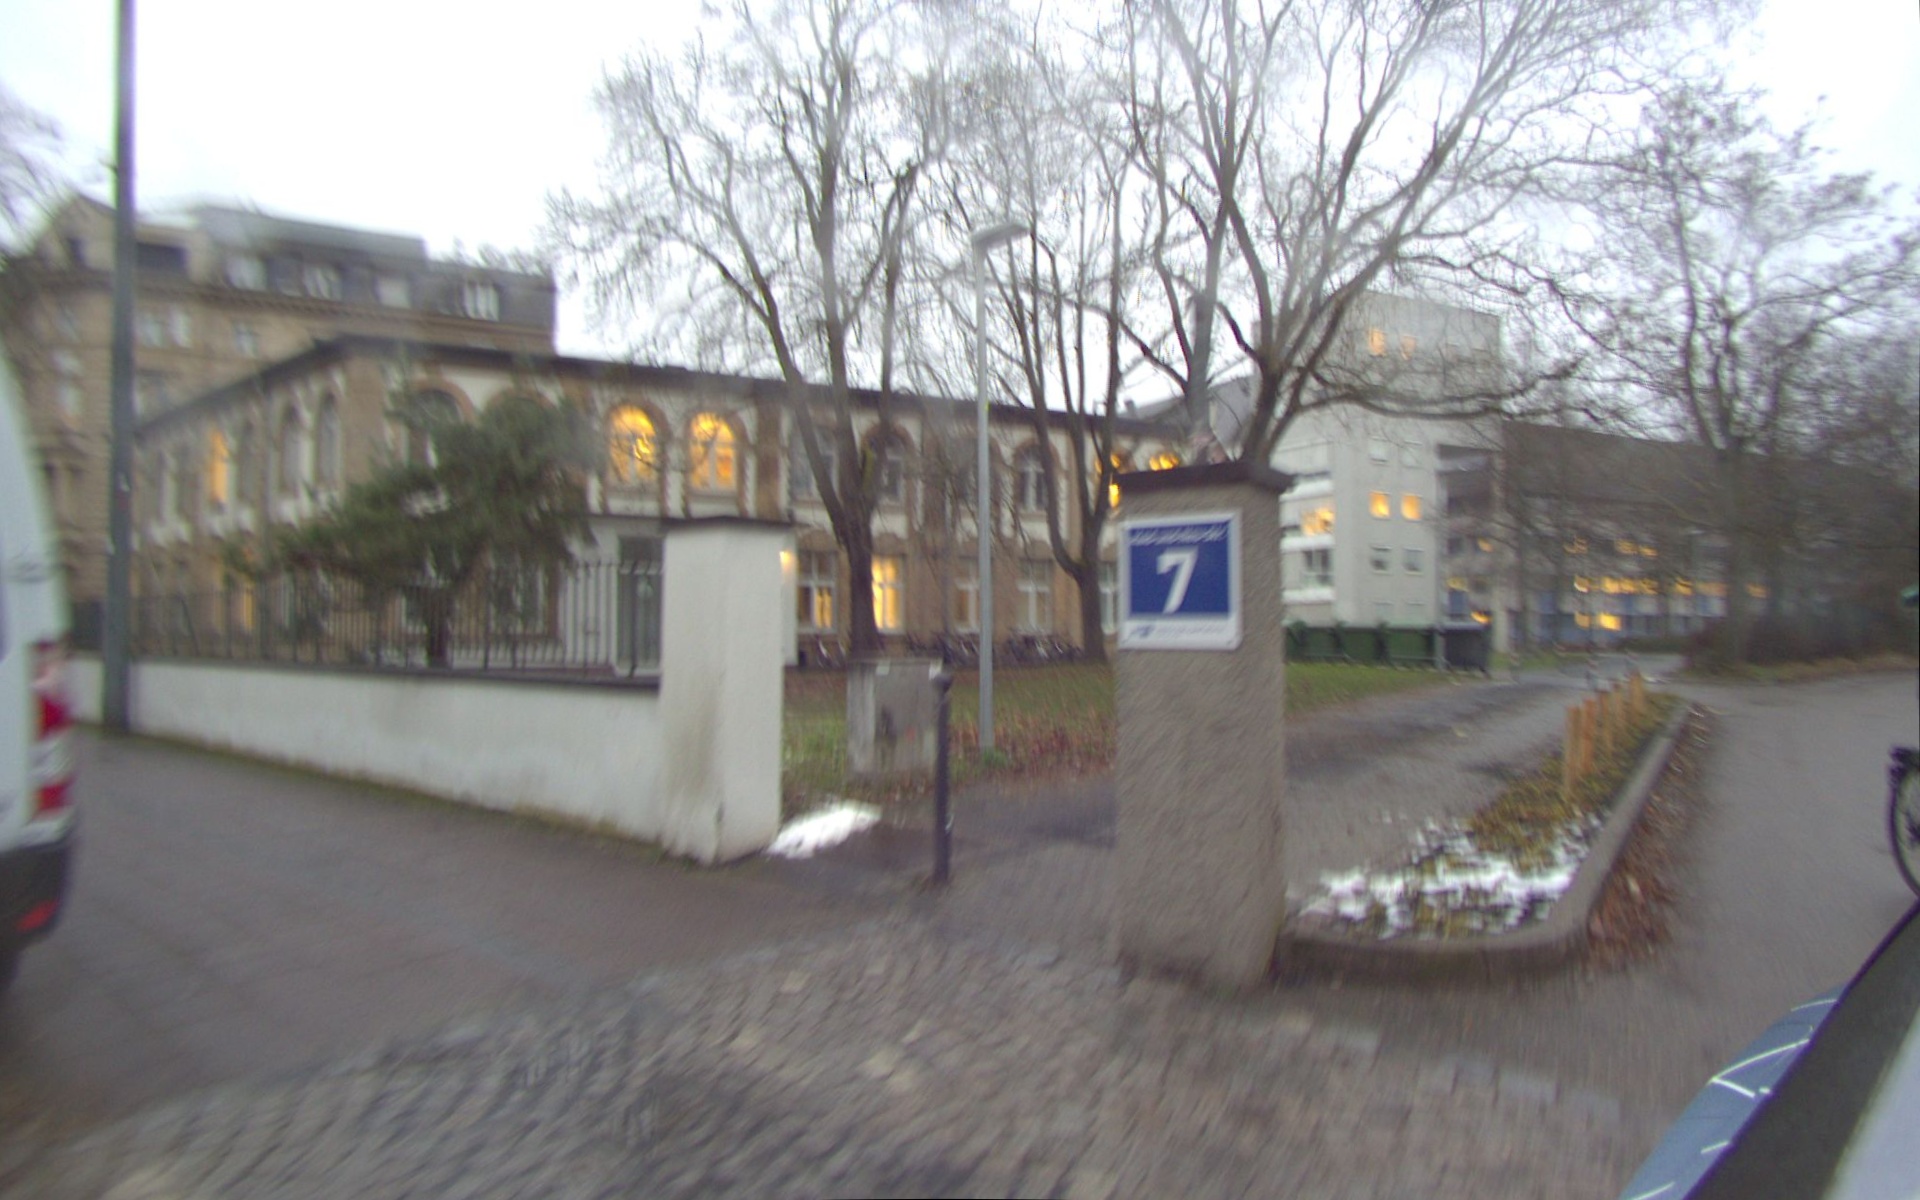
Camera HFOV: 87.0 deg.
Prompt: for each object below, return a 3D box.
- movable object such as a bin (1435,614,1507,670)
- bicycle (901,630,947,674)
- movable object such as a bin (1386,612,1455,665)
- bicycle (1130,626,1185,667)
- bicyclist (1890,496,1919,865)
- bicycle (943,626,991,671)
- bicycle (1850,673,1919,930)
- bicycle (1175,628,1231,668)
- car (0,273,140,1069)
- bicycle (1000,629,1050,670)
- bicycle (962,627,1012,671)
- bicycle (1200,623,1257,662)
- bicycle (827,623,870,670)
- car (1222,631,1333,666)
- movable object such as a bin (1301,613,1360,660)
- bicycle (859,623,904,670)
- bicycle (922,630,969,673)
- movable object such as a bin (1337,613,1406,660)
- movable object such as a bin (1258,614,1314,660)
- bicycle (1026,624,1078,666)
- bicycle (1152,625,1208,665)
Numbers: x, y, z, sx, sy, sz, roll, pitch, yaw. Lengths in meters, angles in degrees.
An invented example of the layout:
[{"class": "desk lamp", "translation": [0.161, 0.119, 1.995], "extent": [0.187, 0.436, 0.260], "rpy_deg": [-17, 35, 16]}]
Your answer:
[{"class": "movable object such as a bin", "translation": [12.711, 1.022, 25.178], "extent": [1.045, 1.333, 1.321], "rpy_deg": [1, 0, -42]}, {"class": "bicycle", "translation": [-1.001, 1.380, 27.562], "extent": [0.561, 1.063, 2.146], "rpy_deg": [0, 0, -22]}, {"class": "movable object such as a bin", "translation": [12.026, 0.981, 26.433], "extent": [0.968, 1.331, 1.309], "rpy_deg": [1, -1, -29]}, {"class": "bicycle", "translation": [5.975, 1.394, 30.755], "extent": [0.561, 1.172, 2.145], "rpy_deg": [0, -1, -22]}, {"class": "bicyclist", "translation": [4.718, 0.374, 4.452], "extent": [0.700, 1.711, 0.764], "rpy_deg": [-1, -2, 27]}, {"class": "bicycle", "translation": [0.177, 1.330, 28.067], "extent": [0.561, 1.172, 2.145], "rpy_deg": [0, -1, -22]}, {"class": "bicycle", "translation": [4.708, 0.950, 4.425], "extent": [0.723, 1.147, 1.876], "rpy_deg": [-1, -1, 26]}, {"class": "bicycle", "translation": [7.586, 1.489, 31.655], "extent": [0.561, 1.172, 2.145], "rpy_deg": [0, -1, -22]}, {"class": "car", "translation": [-5.638, 0.245, 4.192], "extent": [5.403, 2.519, 2.104], "rpy_deg": [-1, -1, 35]}, {"class": "bicycle", "translation": [1.824, 1.389, 28.853], "extent": [0.561, 1.106, 2.145], "rpy_deg": [0, -1, -22]}, {"class": "bicycle", "translation": [0.733, 1.351, 28.312], "extent": [0.561, 1.172, 2.145], "rpy_deg": [0, -1, -22]}, {"class": "bicycle", "translation": [8.478, 1.321, 32.012], "extent": [0.561, 1.172, 2.145], "rpy_deg": [0, -1, -22]}, {"class": "bicycle", "translation": [-2.939, 1.195, 26.527], "extent": [0.561, 1.172, 2.145], "rpy_deg": [0, -1, -22]}, {"class": "car", "translation": [13.040, 1.970, 41.572], "extent": [3.916, 1.297, 2.004], "rpy_deg": [0, -1, -19]}, {"class": "movable object such as a bin", "translation": [10.588, 1.023, 28.964], "extent": [0.968, 1.296, 1.253], "rpy_deg": [1, -1, -29]}, {"class": "bicycle", "translation": [-2.103, 1.207, 26.887], "extent": [0.561, 1.172, 2.145], "rpy_deg": [0, -1, -22]}, {"class": "bicycle", "translation": [-0.418, 1.389, 27.824], "extent": [0.561, 1.029, 2.146], "rpy_deg": [0, 1, -22]}, {"class": "movable object such as a bin", "translation": [11.243, 0.991, 27.664], "extent": [0.968, 1.241, 1.439], "rpy_deg": [1, -1, -29]}, {"class": "movable object such as a bin", "translation": [9.758, 1.084, 30.289], "extent": [0.968, 1.331, 1.265], "rpy_deg": [1, -1, -29]}, {"class": "bicycle", "translation": [2.631, 1.277, 29.241], "extent": [0.561, 1.125, 2.145], "rpy_deg": [0, -1, -22]}, {"class": "bicycle", "translation": [6.756, 1.366, 31.145], "extent": [0.561, 1.172, 2.145], "rpy_deg": [0, -1, -22]}]
